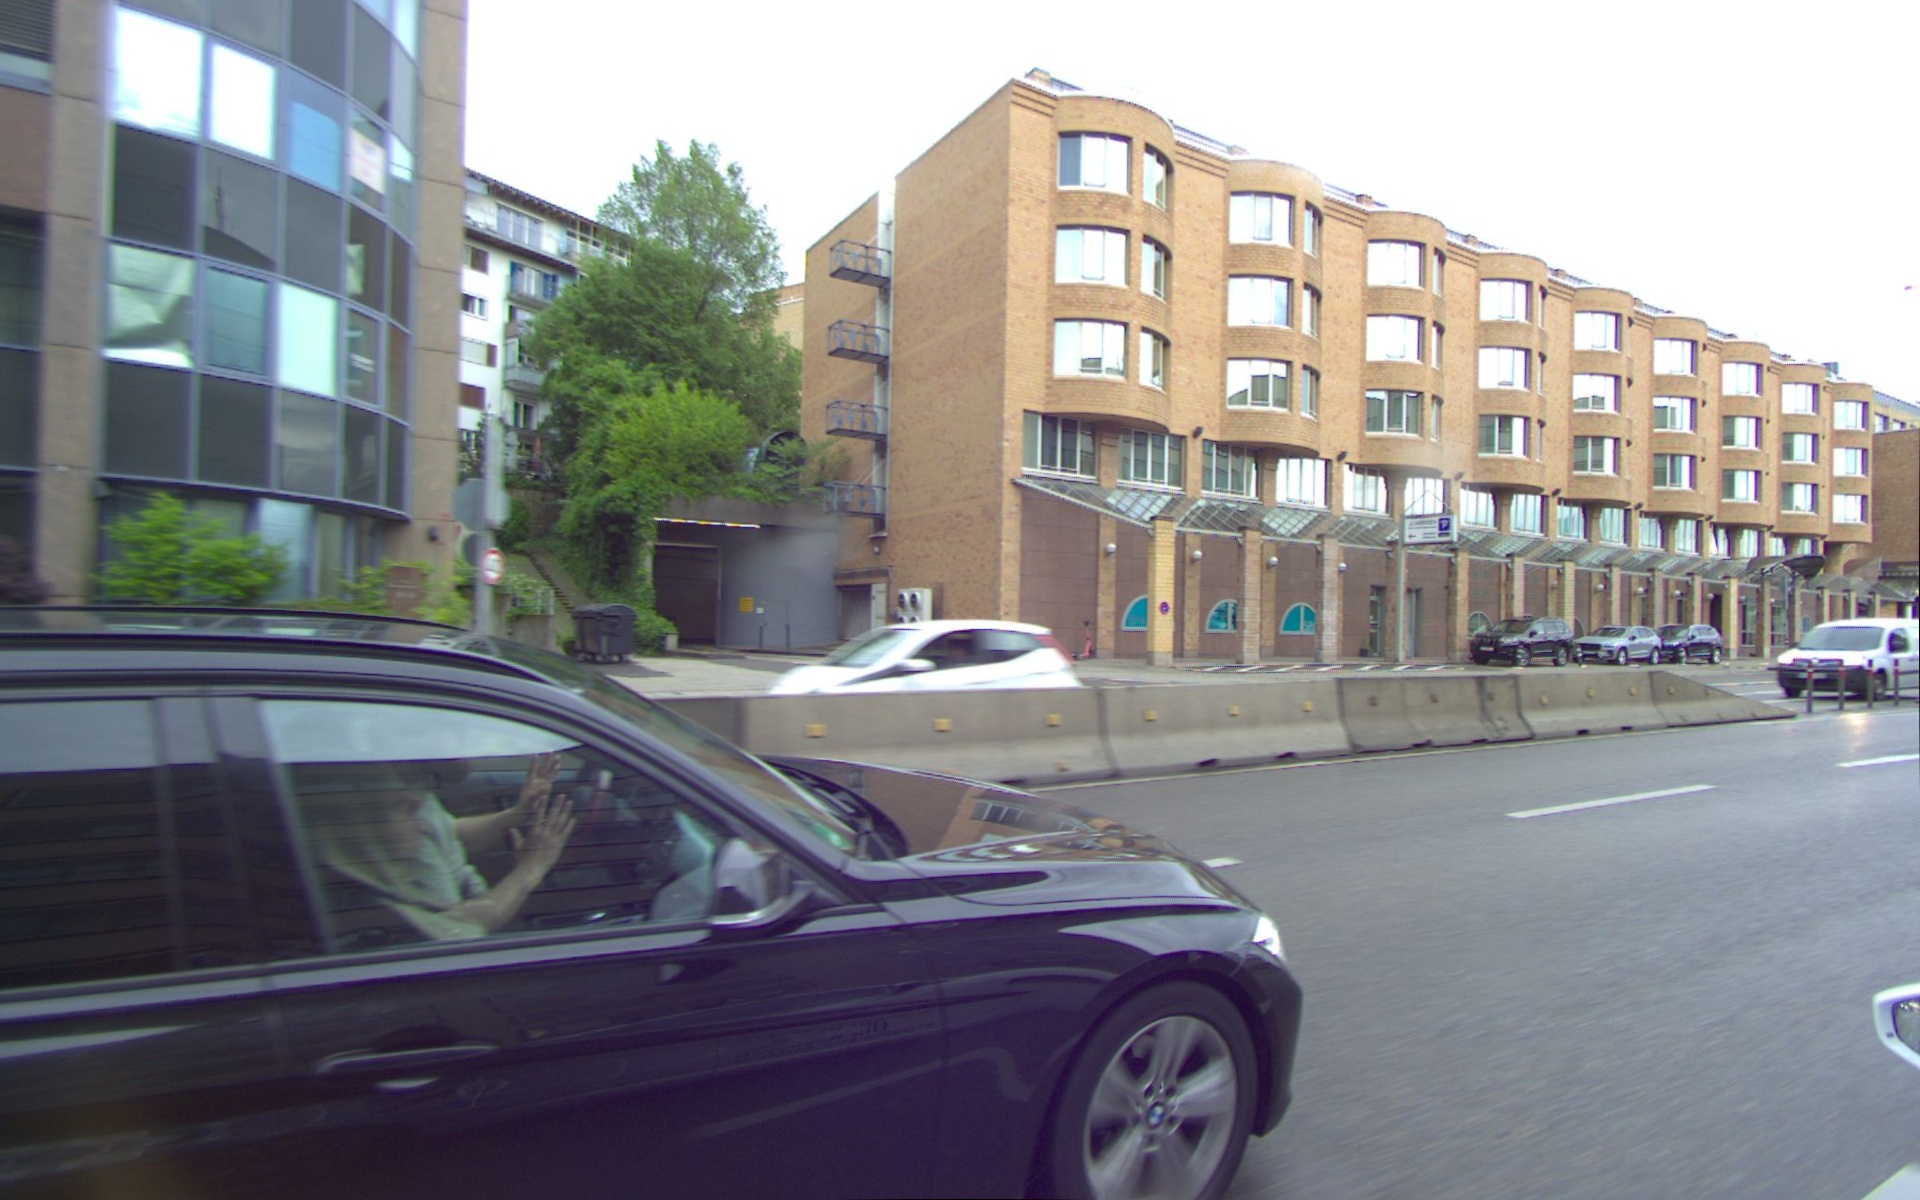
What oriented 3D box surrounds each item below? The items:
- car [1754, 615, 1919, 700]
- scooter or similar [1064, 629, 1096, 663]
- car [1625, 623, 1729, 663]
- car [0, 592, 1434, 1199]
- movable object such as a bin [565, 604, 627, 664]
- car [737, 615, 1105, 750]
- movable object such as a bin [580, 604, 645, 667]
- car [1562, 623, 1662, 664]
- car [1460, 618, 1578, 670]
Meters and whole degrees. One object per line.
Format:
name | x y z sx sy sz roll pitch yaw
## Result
car | 20.765 1.282 23.202 4.811 1.807 1.880 1 -1 -25
scooter or similar | 3.891 1.485 32.569 1.037 1.077 0.445 2 -1 -42
car | 32.983 1.952 46.172 4.988 1.713 1.985 1 -1 -29
car | -1.139 0.741 2.294 4.602 1.462 1.759 1 -1 -31
movable object such as a bin | -9.492 0.872 26.182 1.334 1.499 1.237 1 -1 -29
car | -0.387 0.813 10.937 3.682 1.247 1.605 1 -1 -29
movable object such as a bin | -8.597 0.869 24.800 1.333 1.499 1.238 1 -1 -28
car | 28.008 1.841 43.118 4.491 1.615 1.982 1 -1 -33
car | 21.999 1.693 39.477 4.960 1.911 1.982 1 -1 -33
